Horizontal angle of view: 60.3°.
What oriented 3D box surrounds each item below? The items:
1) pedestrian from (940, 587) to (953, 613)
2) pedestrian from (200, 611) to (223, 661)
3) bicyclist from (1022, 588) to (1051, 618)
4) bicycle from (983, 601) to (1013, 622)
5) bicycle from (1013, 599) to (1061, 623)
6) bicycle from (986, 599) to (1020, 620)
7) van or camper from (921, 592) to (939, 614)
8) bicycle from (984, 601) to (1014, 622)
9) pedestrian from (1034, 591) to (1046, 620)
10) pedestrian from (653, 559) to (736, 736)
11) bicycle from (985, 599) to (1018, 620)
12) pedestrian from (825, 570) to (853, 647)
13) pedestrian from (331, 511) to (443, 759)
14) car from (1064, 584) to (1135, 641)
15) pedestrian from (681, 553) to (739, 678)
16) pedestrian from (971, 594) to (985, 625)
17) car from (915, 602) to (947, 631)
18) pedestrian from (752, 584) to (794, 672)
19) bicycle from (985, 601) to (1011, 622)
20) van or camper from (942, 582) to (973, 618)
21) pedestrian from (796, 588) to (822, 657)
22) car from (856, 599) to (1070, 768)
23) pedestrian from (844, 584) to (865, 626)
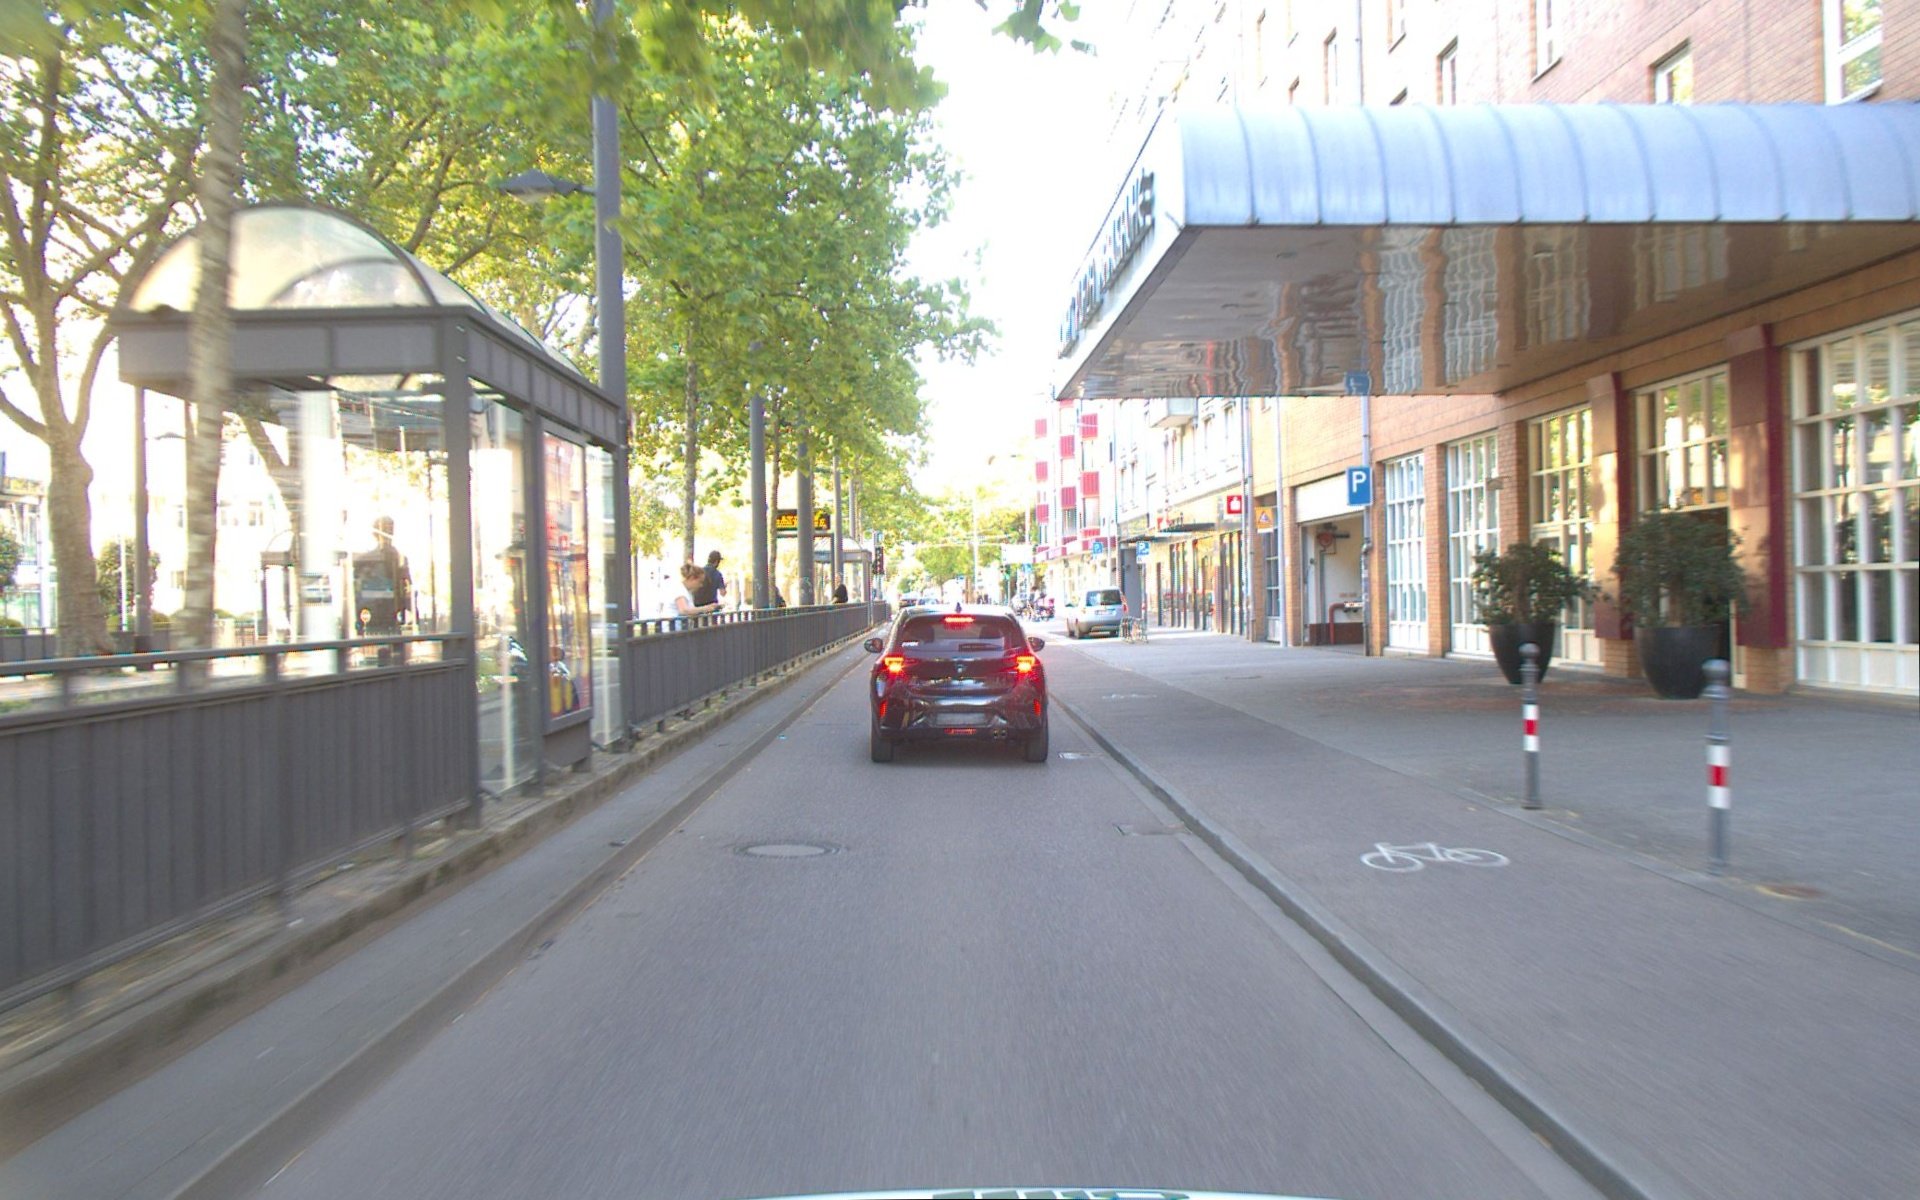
[{"bbox_3d":[-1.101,-0.009,133.056,1.015,2.059,1.212,-1,0,-3],"label":"pedestrian"},{"bbox_3d":[-30.566,1.477,67.555,0.593,2.011,0.833,0,0,-4],"label":"pedestrian"},{"bbox_3d":[4.034,0.156,87.115,1.061,1.567,1.053,-2,-1,45],"label":"bicyclist"},{"bbox_3d":[2.326,0.712,101.559,1.764,1.220,0.546,-1,-2,3],"label":"bicycle"},{"bbox_3d":[4.041,0.606,87.130,0.956,1.204,2.555,-1,0,-44],"label":"bicycle"},{"bbox_3d":[2.567,0.579,99.424,1.939,1.220,0.590,-1,-1,-6],"label":"bicycle"},{"bbox_3d":[-4.178,0.389,229.467,2.436,3.046,5.433,1,0,-1],"label":"van or camper"},{"bbox_3d":[2.380,0.705,100.287,1.793,1.242,0.496,-1,0,2],"label":"bicycle"},{"bbox_3d":[5.475,0.374,112.787,0.708,1.890,0.800,-1,0,-2],"label":"pedestrian"},{"bbox_3d":[-2.638,0.469,16.491,0.725,1.720,0.645,1,-1,-3],"label":"pedestrian"},{"bbox_3d":[2.502,0.549,98.728,1.902,1.191,0.571,-1,-1,-5],"label":"bicycle"},{"bbox_3d":[-3.049,0.208,41.665,0.633,1.920,0.661,-1,0,-2],"label":"pedestrian"},{"bbox_3d":[-4.443,0.264,12.857,0.634,1.871,0.638,-1,0,-2],"label":"pedestrian"},{"bbox_3d":[4.478,0.381,53.719,1.796,1.651,4.283,-4,0,-1],"label":"car"},{"bbox_3d":[-3.755,0.230,24.887,0.691,1.833,0.827,-1,0,2],"label":"pedestrian"},{"bbox_3d":[1.054,0.532,95.948,0.719,1.777,0.712,-1,0,3],"label":"pedestrian"},{"bbox_3d":[-1.711,0.948,97.568,1.795,1.651,4.283,0,0,-1],"label":"car"},{"bbox_3d":[-3.708,0.546,32.810,0.714,1.732,0.863,0,0,0],"label":"pedestrian"},{"bbox_3d":[2.318,0.702,100.856,1.589,1.220,0.496,-1,-1,3],"label":"bicycle"},{"bbox_3d":[-0.293,0.016,155.892,2.329,3.179,7.546,-4,0,-3],"label":"van or camper"},{"bbox_3d":[-4.239,0.626,46.497,0.632,1.904,0.753,-1,0,-1],"label":"pedestrian"},{"bbox_3d":[-0.003,0.731,16.675,1.866,1.450,4.214,-1,0,-1],"label":"car"},{"bbox_3d":[-3.454,0.162,54.190,0.613,1.342,0.801,-1,0,-1],"label":"pedestrian"}]
